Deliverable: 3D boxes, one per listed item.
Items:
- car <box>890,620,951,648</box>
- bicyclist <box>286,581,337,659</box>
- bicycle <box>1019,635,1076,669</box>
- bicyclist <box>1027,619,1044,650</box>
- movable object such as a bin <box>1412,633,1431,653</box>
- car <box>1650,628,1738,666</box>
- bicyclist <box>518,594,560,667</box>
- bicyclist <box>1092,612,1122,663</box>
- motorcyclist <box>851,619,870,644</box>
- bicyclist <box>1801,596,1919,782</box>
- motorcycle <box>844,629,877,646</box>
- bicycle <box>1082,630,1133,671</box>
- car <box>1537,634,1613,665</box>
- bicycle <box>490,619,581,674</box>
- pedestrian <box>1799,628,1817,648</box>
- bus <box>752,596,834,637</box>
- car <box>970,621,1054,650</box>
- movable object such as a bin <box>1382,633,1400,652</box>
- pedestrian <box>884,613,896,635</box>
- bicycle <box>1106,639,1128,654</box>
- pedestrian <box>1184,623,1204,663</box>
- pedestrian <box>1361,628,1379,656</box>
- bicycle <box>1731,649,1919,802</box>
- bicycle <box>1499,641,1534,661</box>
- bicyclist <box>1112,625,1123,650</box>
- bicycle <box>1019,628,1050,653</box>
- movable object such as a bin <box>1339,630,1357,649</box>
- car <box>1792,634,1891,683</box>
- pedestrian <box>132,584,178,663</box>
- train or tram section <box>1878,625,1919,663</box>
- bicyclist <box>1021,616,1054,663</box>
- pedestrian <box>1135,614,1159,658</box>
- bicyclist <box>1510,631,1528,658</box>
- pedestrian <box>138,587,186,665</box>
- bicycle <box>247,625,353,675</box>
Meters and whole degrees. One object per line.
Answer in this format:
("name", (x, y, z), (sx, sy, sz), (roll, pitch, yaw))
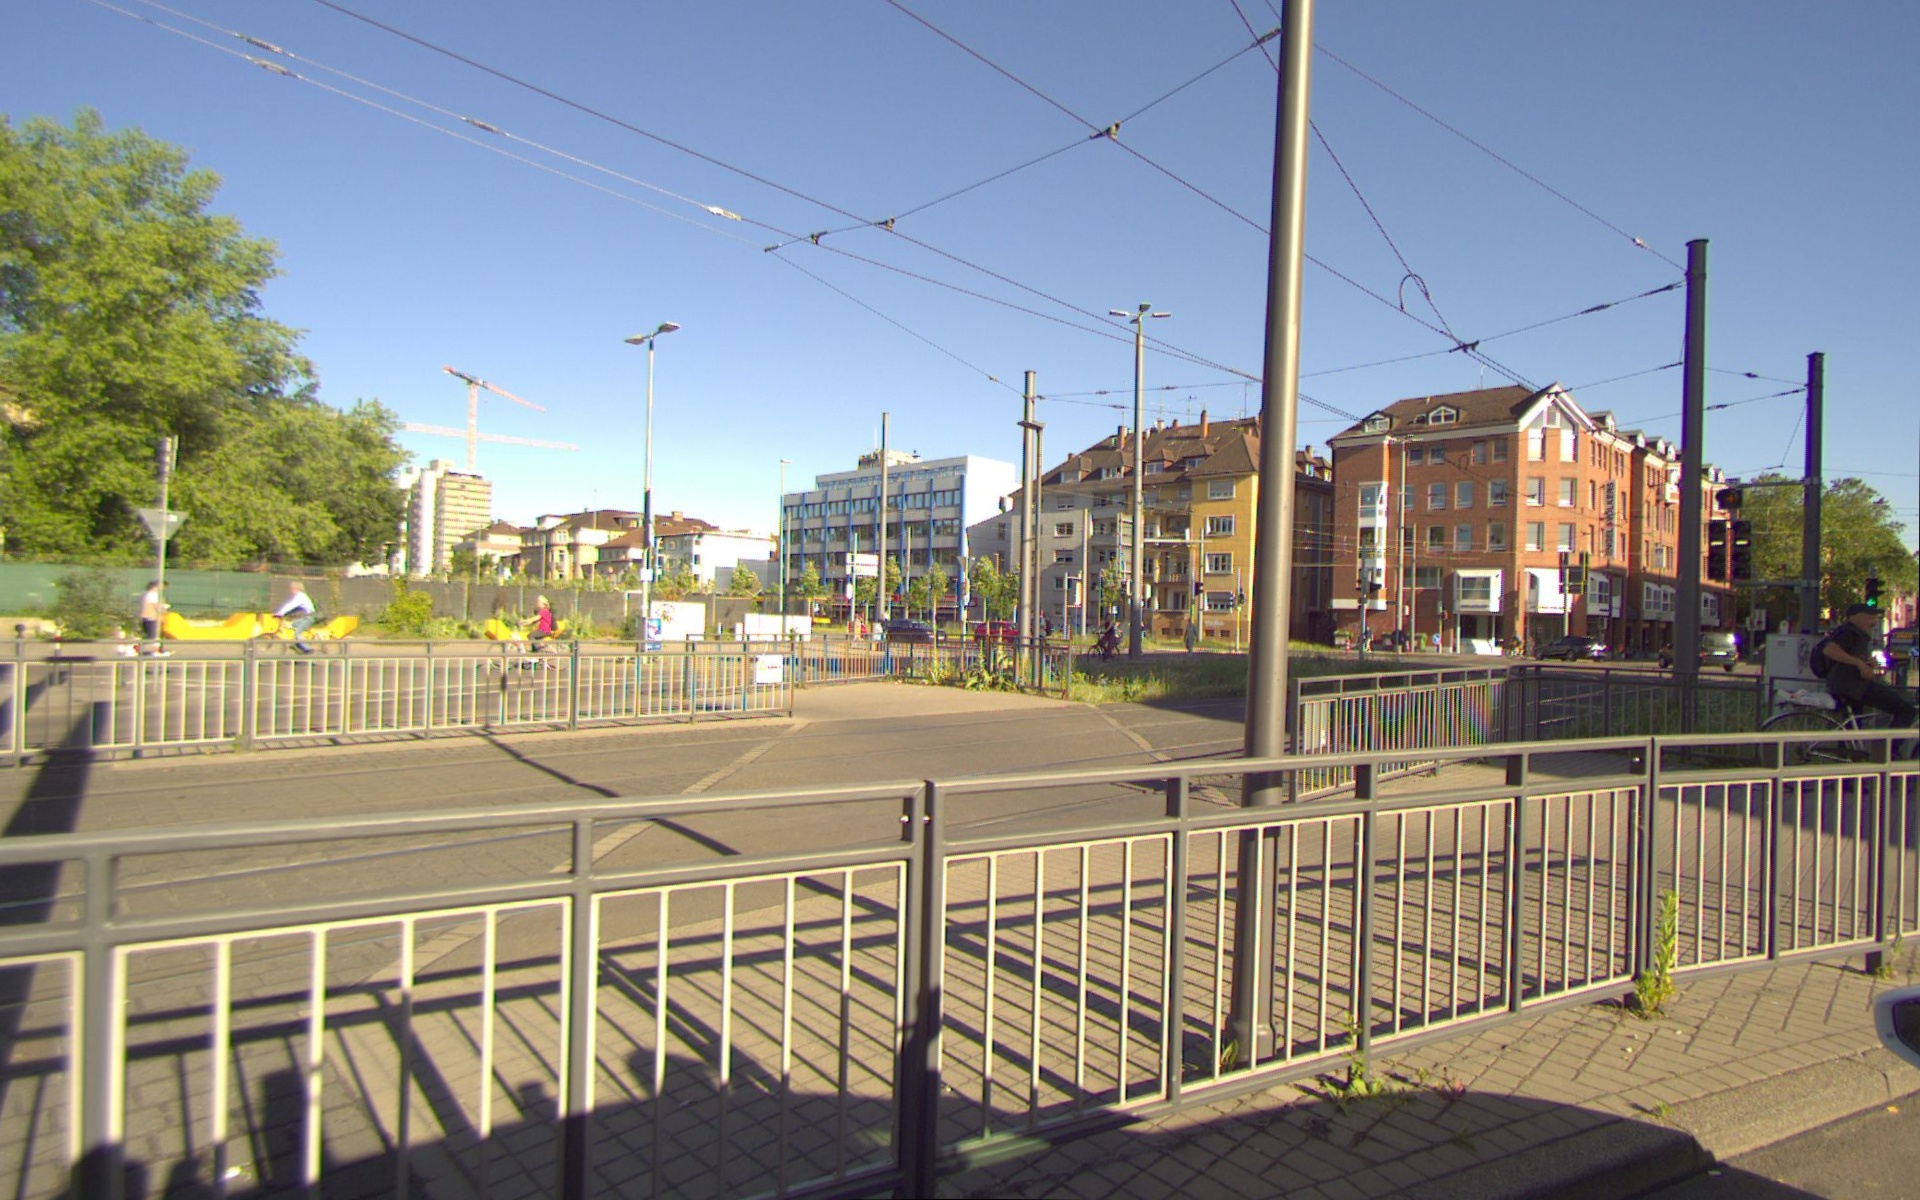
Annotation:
("car", (-2.381, 2.048, 60.447), (3.661, 1.491, 1.566), (1, -1, 44))
("bicyclist", (-14.502, 0.449, 22.477), (0.757, 1.695, 0.521), (2, -1, -15))
("bicycle", (2.808, 1.663, 32.146), (1.868, 1.027, 0.645), (3, -1, -38))
("bicyclist", (3.792, 1.731, 50.478), (0.606, 1.513, 0.607), (2, -1, 37))
("movable object such as a bin", (35.715, 3.343, 77.726), (0.984, 1.455, 1.091), (1, -1, 41))
("car", (34.839, 2.192, 47.785), (1.546, 1.639, 3.785), (2, -1, 3))
("bicyclist", (-9.932, 0.713, 23.691), (0.763, 1.695, 0.516), (3, -1, -38))
("bicyclist", (4.914, 1.265, 33.522), (0.801, 1.671, 0.582), (3, -1, -44))
("motorcyclist", (-6.374, 2.031, 64.220), (0.911, 1.544, 0.777), (1, -1, 44))
("bicyclist", (7.960, 0.759, 8.861), (0.670, 1.543, 0.634), (2, -1, 27))
("motorcycle", (-6.370, 2.387, 64.208), (2.334, 0.997, 0.786), (1, -1, 44))
("bicycle", (4.945, 1.678, 33.567), (2.013, 1.308, 0.568), (3, -1, -44))
("car", (35.316, 2.839, 57.784), (1.703, 1.571, 3.462), (2, -1, -16))
("bicycle", (-9.984, 1.106, 23.640), (1.868, 1.230, 0.525), (3, -1, -38))
("pedestrian", (70.545, 3.144, 83.552), (1.092, 1.646, 0.844), (1, -1, 40))
("bus", (-16.380, 1.559, 98.004), (2.933, 3.610, 9.301), (3, -1, -45))
("car", (2.835, 1.958, 55.479), (4.498, 1.529, 1.774), (-1, -2, 41))
("movable object such as a bin", (34.038, 3.335, 79.374), (0.984, 1.455, 1.091), (1, -1, 41))
("pedestrian", (-6.571, 2.270, 94.153), (0.794, 2.036, 0.800), (2, -1, 36))
("bicycle", (8.578, 2.524, 54.844), (1.156, 0.774, 0.319), (1, -1, 35))
("pedestrian", (10.292, 1.888, 44.200), (0.617, 1.711, 0.702), (2, 1, 39))
("pedestrian", (26.008, 2.637, 63.715), (0.688, 1.733, 0.924), (1, -1, 44))
("bicycle", (7.986, 1.088, 8.833), (1.792, 1.228, 0.641), (2, -1, 27))
("bicycle", (37.141, 3.423, 67.094), (0.621, 1.239, 2.025), (2, -1, -29))
("bicyclist", (8.602, 2.026, 54.850), (0.452, 1.333, 0.399), (2, -1, 35))
("bicycle", (3.743, 2.036, 50.500), (1.476, 1.148, 0.610), (1, -1, 37))
("movable object such as a bin", (31.600, 3.198, 81.823), (0.984, 1.455, 1.091), (1, -1, 41))
("car", (33.182, 2.156, 37.909), (1.810, 1.656, 3.484), (2, -1, 24))
("pedestrian", (-19.206, 0.561, 23.971), (0.696, 1.841, 0.591), (2, -1, -29))
("train or tram section", (96.035, 4.490, 102.281), (10.011, 3.589, 2.704), (3, -1, -42))
("bicyclist", (2.462, 1.251, 31.909), (0.724, 1.473, 0.658), (3, -1, -38))
("pedestrian", (8.589, 1.639, 46.209), (0.786, 1.959, 0.722), (2, -1, -19))
("bicyclist", (37.237, 2.960, 66.924), (0.607, 1.795, 0.824), (2, -1, -29))
("pedestrian", (-19.557, 0.633, 24.626), (0.731, 1.876, 0.702), (2, -1, -29))
("bicycle", (-14.689, 1.118, 22.395), (1.854, 1.027, 0.529), (2, -1, -16))
